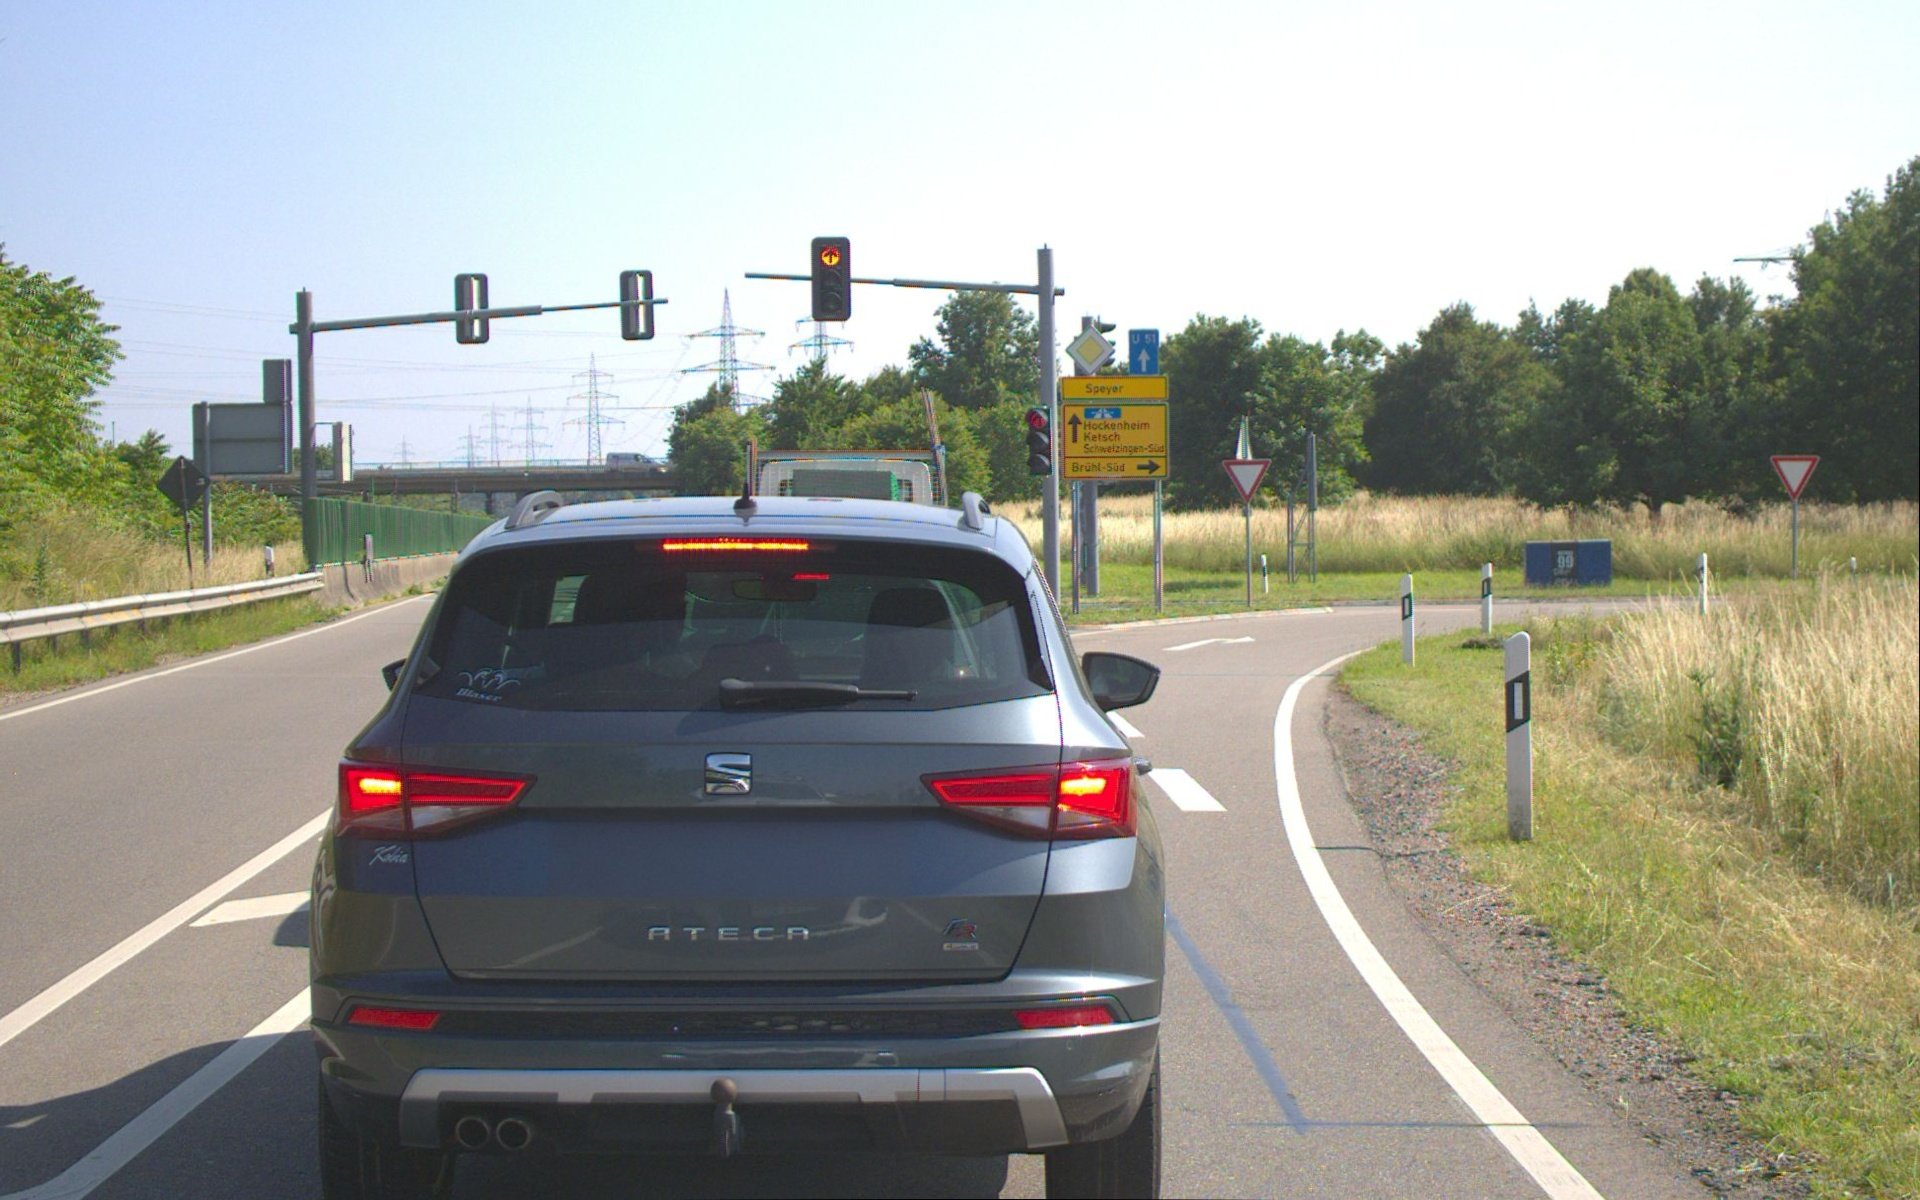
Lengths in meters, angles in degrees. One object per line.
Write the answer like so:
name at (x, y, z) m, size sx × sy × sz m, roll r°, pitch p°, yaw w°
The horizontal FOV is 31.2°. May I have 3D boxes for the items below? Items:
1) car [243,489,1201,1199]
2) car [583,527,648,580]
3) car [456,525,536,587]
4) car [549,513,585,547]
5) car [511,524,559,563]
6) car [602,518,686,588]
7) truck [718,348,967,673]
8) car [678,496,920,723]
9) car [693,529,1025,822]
car at (-0.545, 0.556, 8.483) m, size 1.785 × 1.623 × 4.001 m, roll -1°, pitch 2°, yaw -3°
car at (-9.195, -1.261, 91.739) m, size 1.684 × 1.375 × 3.534 m, roll 0°, pitch 2°, yaw -6°
car at (-11.272, -1.085, 83.684) m, size 1.824 × 1.426 × 4.001 m, roll -1°, pitch 1°, yaw -7°
car at (-23.660, -4.229, 207.085) m, size 1.963 × 1.945 × 4.998 m, roll -1°, pitch 1°, yaw -8°
car at (-16.184, -2.163, 130.993) m, size 1.761 × 1.426 × 4.001 m, roll -1°, pitch 1°, yaw -7°
car at (-7.319, -1.111, 79.413) m, size 1.816 × 1.535 × 4.001 m, roll -1°, pitch 1°, yaw -6°
truck at (-1.196, -0.878, 35.303) m, size 2.337 × 3.055 × 5.810 m, roll 0°, pitch 1°, yaw -2°
car at (-1.304, 0.017, 27.642) m, size 1.785 × 1.670 × 4.001 m, roll -1°, pitch 2°, yaw -3°
car at (-0.649, 0.367, 20.644) m, size 1.785 × 1.538 × 4.001 m, roll -1°, pitch 2°, yaw -3°
